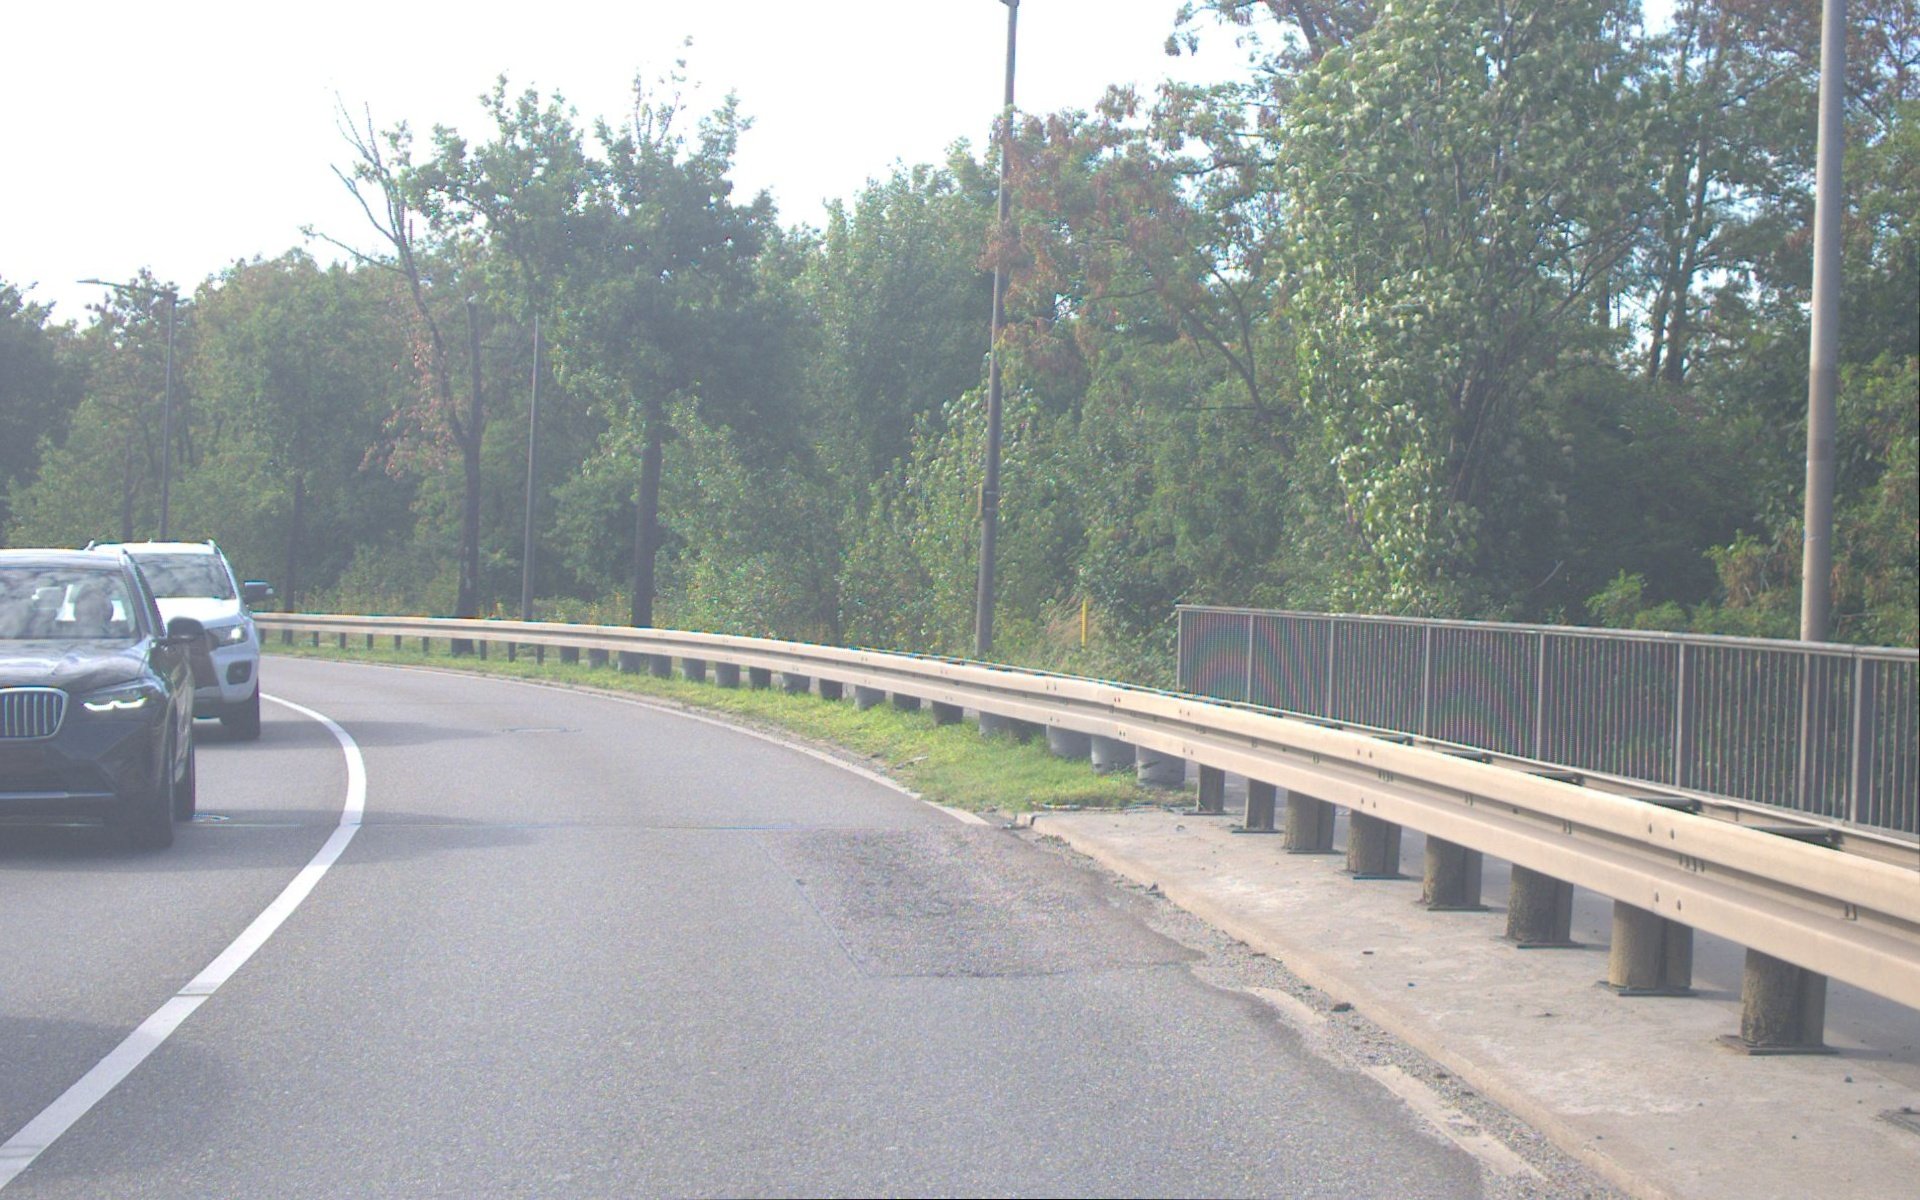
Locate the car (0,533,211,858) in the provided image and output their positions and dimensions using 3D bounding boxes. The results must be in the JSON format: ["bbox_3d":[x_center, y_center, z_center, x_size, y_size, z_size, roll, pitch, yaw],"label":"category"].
[{"bbox_3d":[-5.414,0.468,19.761,1.889,1.643,4.643,-1,1,-9],"label":"car"}]

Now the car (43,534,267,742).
[{"bbox_3d":[-7.646,0.307,32.736,1.900,1.804,5.405,0,0,-13],"label":"car"}]
